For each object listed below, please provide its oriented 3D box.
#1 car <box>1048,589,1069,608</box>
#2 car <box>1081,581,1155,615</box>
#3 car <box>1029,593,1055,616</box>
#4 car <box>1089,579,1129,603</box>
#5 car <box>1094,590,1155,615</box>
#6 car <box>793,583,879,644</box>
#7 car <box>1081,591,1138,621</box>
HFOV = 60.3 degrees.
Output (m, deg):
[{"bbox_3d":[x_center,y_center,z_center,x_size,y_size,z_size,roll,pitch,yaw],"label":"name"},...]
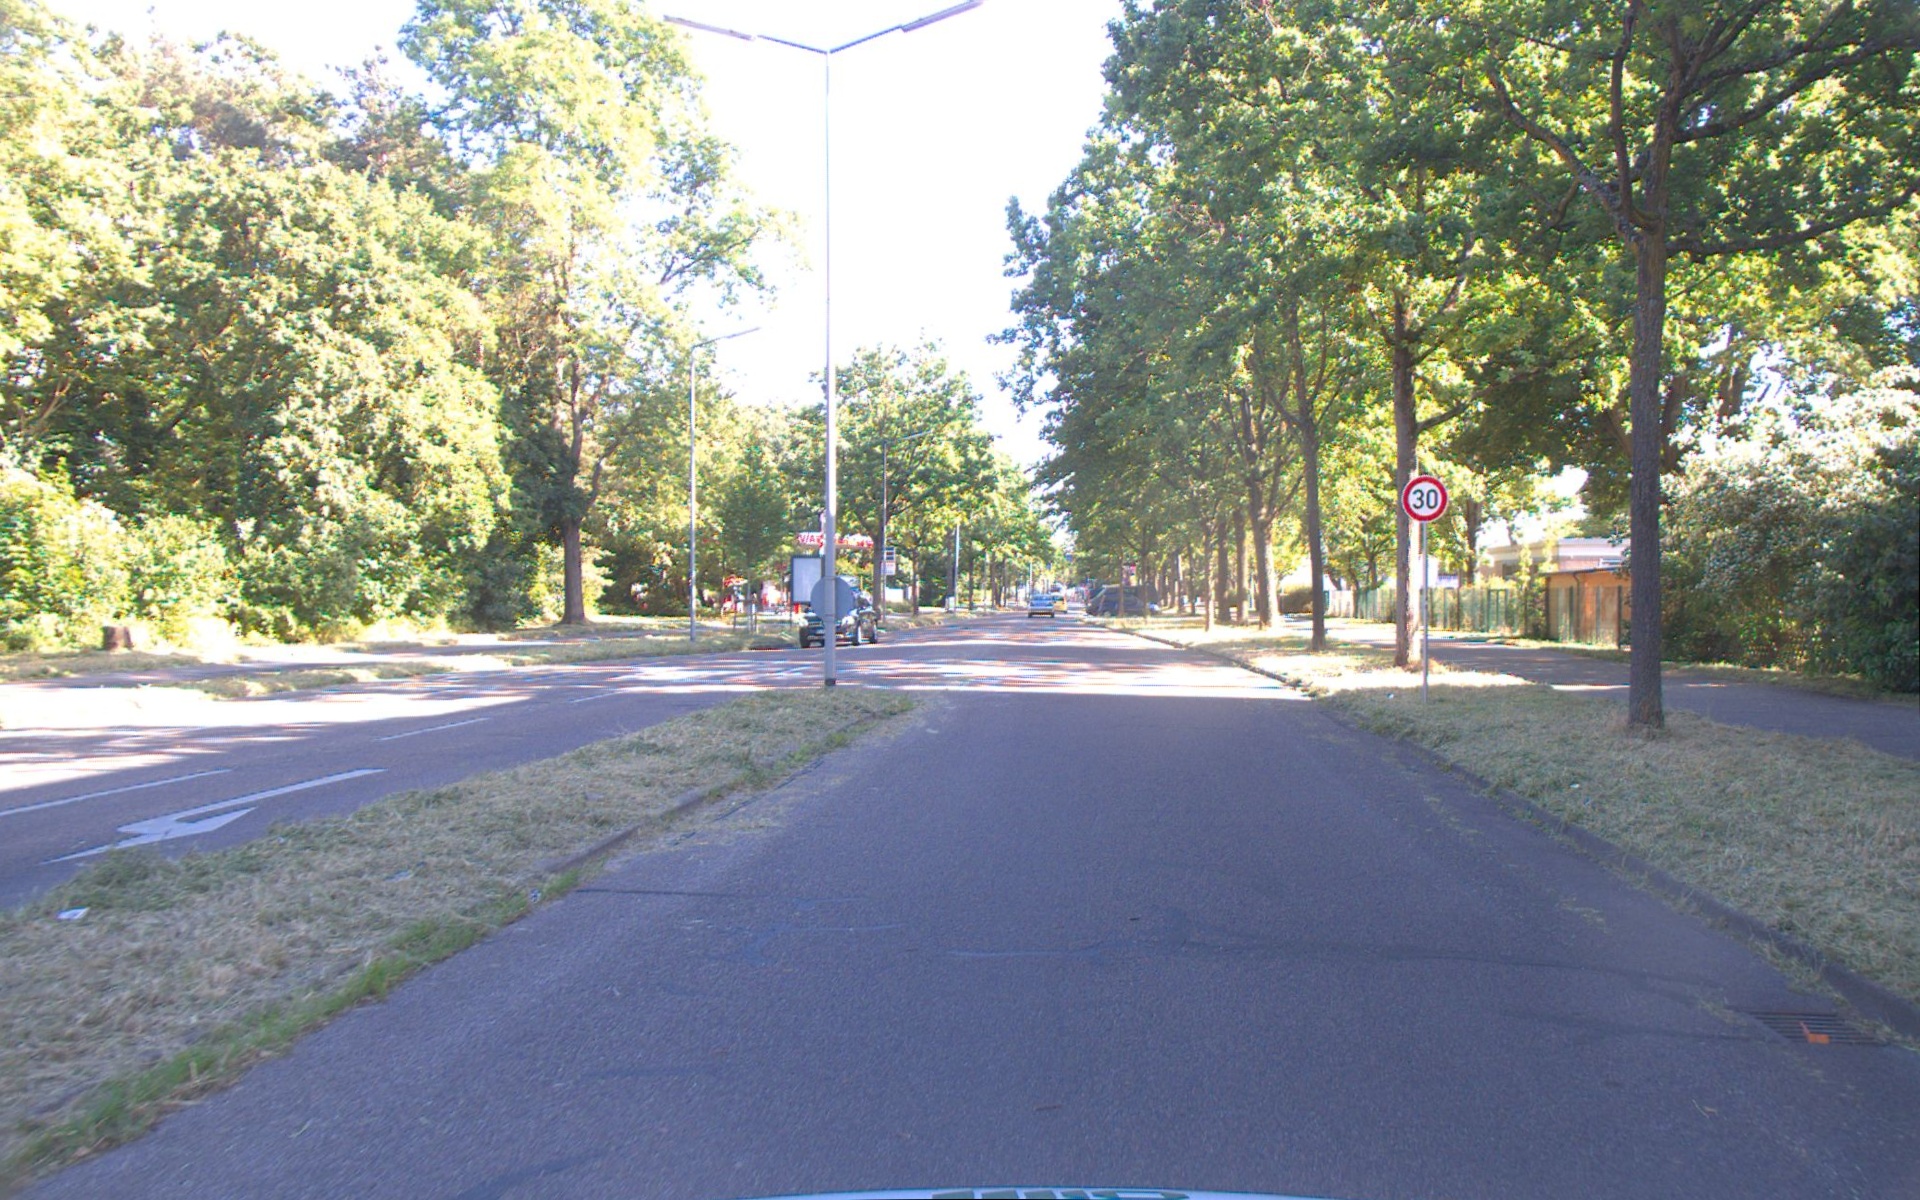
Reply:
[{"bbox_3d":[7.850,-0.106,131.497,1.626,1.360,3.666,-1,-1,3],"label":"car"},{"bbox_3d":[9.728,-0.120,102.030,4.408,1.987,1.688,-1,-1,3],"label":"car"},{"bbox_3d":[5.285,0.310,106.365,1.626,1.360,3.666,-1,-1,3],"label":"car"},{"bbox_3d":[13.632,-0.788,151.478,3.492,2.087,1.633,-1,-4,3],"label":"car"},{"bbox_3d":[9.856,0.172,99.081,3.576,1.423,1.318,-1,-1,3],"label":"car"},{"bbox_3d":[-3.762,0.393,50.770,1.800,1.738,4.508,-1,0,6],"label":"car"},{"bbox_3d":[9.438,0.398,104.578,3.576,1.829,1.318,-1,-1,3],"label":"car"}]
